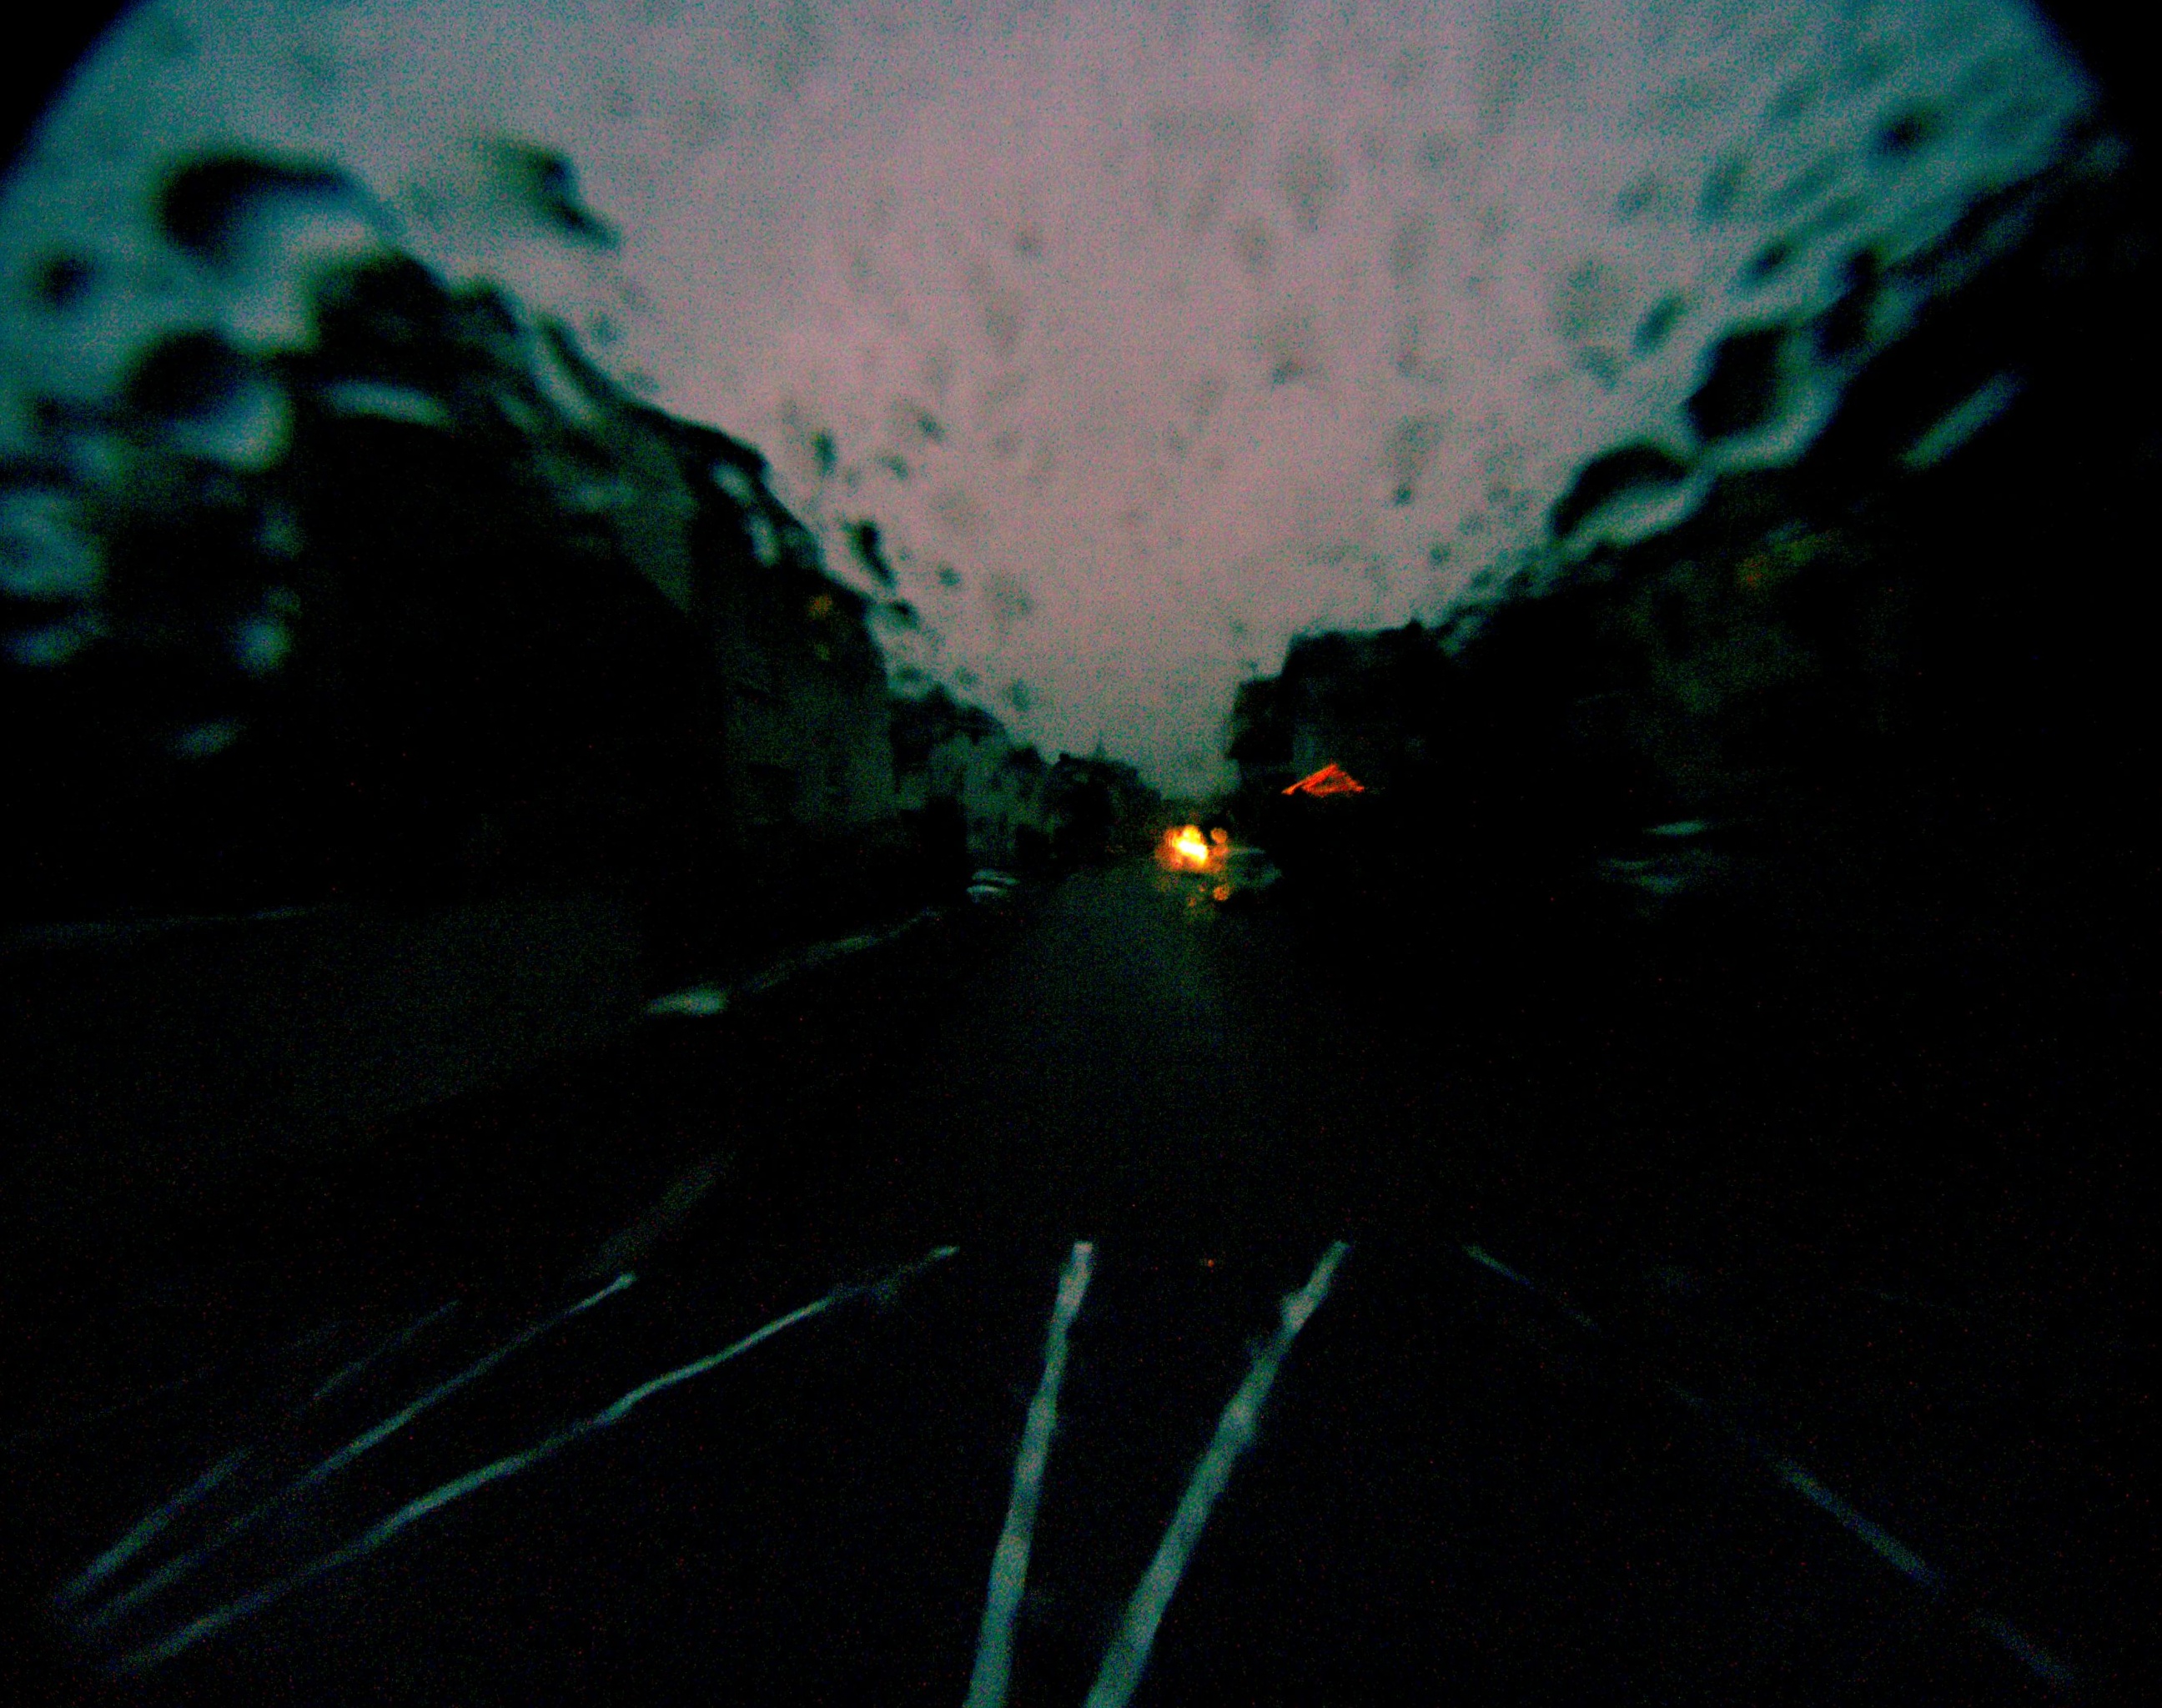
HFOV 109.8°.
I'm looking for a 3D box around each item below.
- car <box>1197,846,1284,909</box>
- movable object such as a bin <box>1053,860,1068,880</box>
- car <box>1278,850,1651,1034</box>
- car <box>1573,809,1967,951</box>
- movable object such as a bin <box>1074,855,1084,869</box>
[{"bbox_3d":[4.232,0.565,20.607,1.622,1.430,3.656,-2,1,1],"label":"car"},{"bbox_3d":[-1.051,0.812,38.605,0.638,0.912,0.686,-3,2,6],"label":"movable object such as a bin"},{"bbox_3d":[3.876,0.733,8.907,1.882,1.386,5.074,-2,1,1],"label":"car"},{"bbox_3d":[8.867,0.313,10.071,3.471,1.519,1.774,-3,1,5],"label":"car"},{"bbox_3d":[-0.151,0.525,50.926,0.538,0.933,0.689,-3,1,5],"label":"movable object such as a bin"}]
